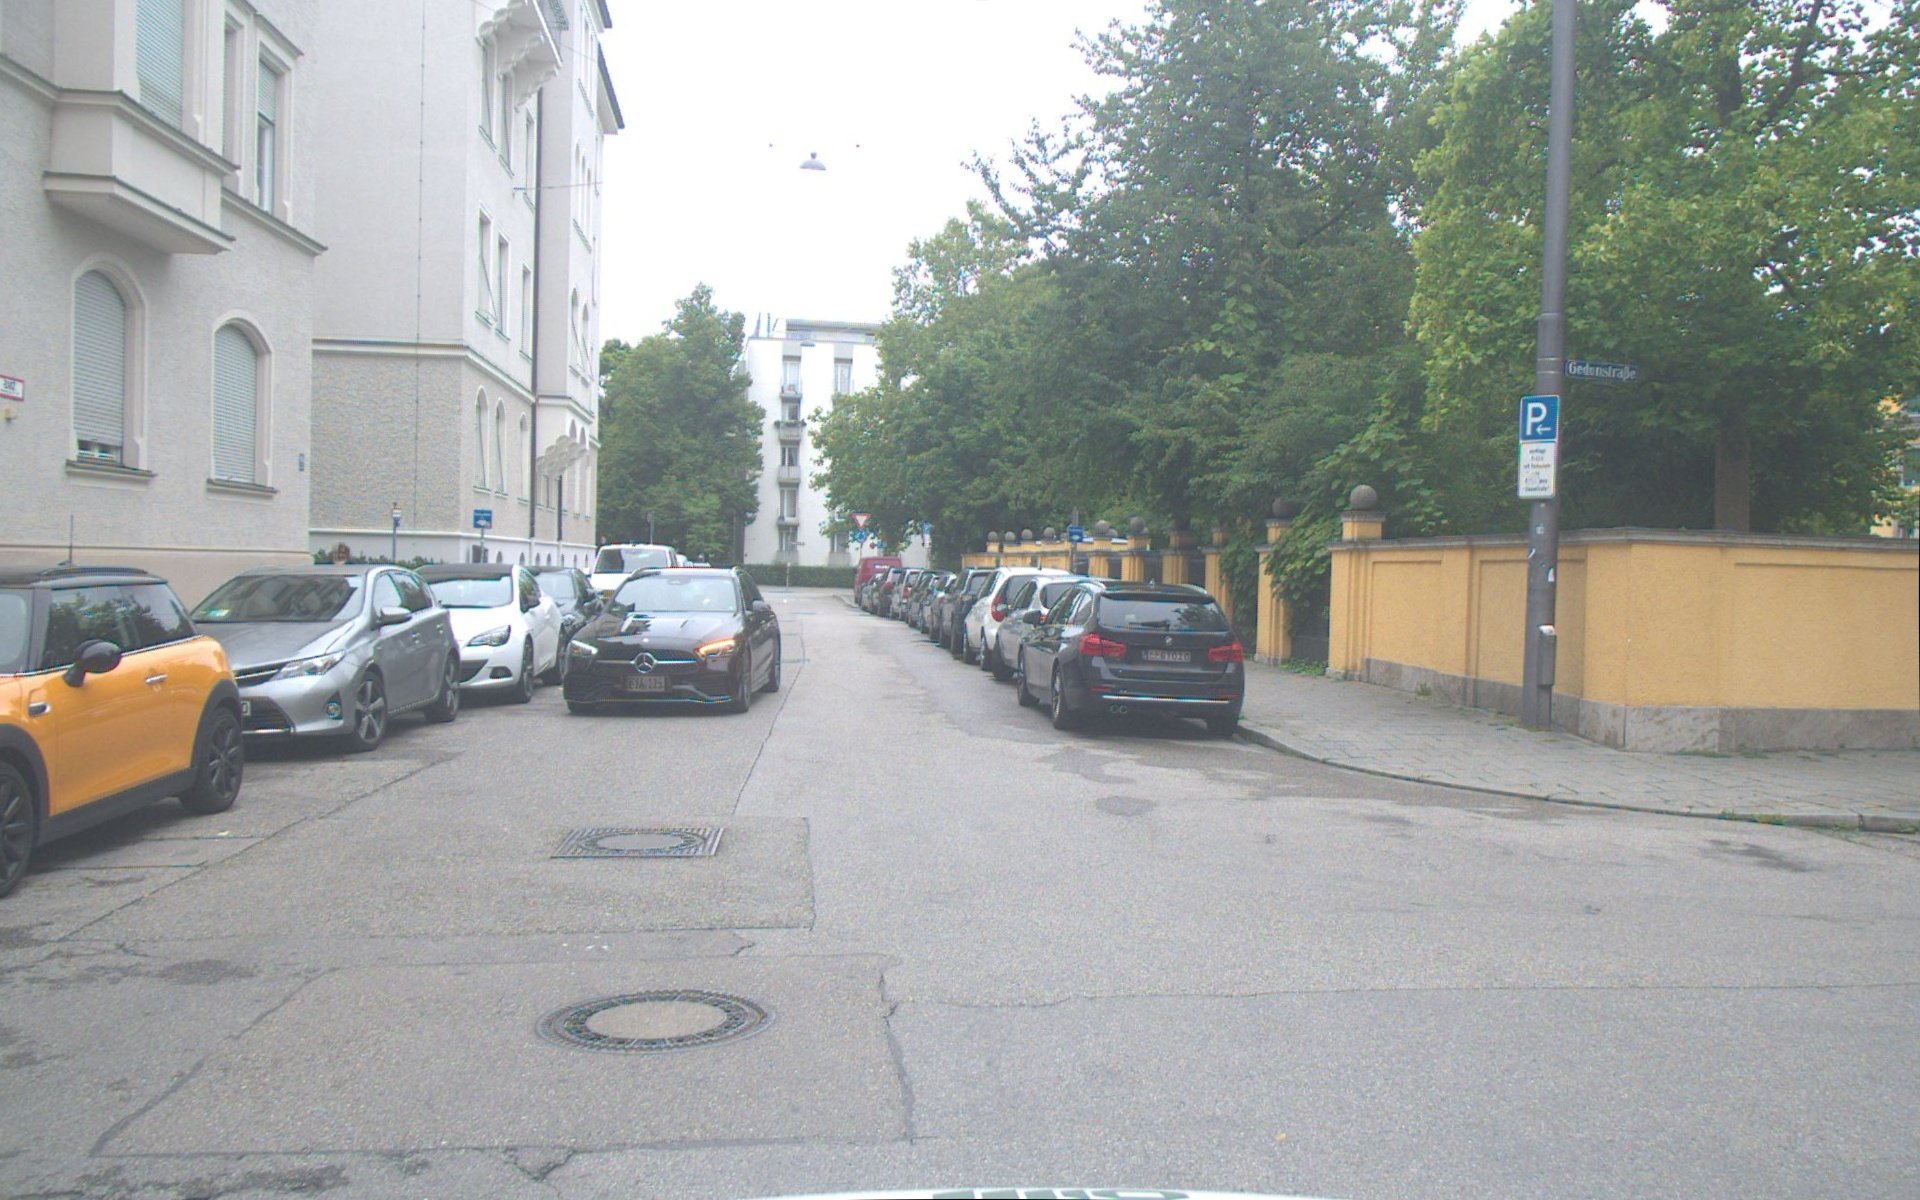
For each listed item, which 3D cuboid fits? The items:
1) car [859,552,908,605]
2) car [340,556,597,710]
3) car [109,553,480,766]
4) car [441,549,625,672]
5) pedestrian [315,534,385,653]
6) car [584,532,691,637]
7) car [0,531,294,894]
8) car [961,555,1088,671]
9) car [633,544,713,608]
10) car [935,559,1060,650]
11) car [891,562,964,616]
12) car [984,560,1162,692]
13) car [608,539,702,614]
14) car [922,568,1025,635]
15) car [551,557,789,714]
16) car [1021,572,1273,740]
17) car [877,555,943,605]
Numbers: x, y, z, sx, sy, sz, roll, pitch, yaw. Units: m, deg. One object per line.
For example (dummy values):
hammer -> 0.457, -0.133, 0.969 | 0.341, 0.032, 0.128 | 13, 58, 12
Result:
car -> -3.071, -0.895, 67.241 | 1.799, 1.960, 4.004 | 4, 2, -2
car -> -5.411, 0.274, 18.783 | 1.800, 1.463, 4.273 | -2, 2, -3
car -> -5.357, 0.385, 13.883 | 1.691, 1.526, 3.928 | 0, 1, -3
car -> -5.964, 0.069, 23.566 | 1.800, 1.525, 4.271 | -2, 2, -5
pedestrian -> -8.878, -0.099, 24.078 | 0.776, 1.708, 0.699 | 1, 1, -5
car -> -7.179, -0.414, 37.188 | 1.850, 2.164, 4.702 | -2, 2, -5
car -> -4.916, 0.448, 8.331 | 1.607, 1.525, 3.970 | -2, 2, -2
car -> 0.979, 0.158, 26.796 | 1.484, 1.690, 3.670 | 2, 1, -6
car -> -8.458, -0.752, 49.046 | 1.976, 1.756, 4.270 | -2, 2, -6
car -> 0.652, 0.048, 31.971 | 1.804, 1.578, 3.942 | 2, 1, -7
car -> -1.033, -0.363, 51.223 | 1.804, 1.545, 3.942 | 2, 1, -7
car -> 1.415, 0.287, 22.090 | 1.621, 1.545, 3.789 | 2, 1, -7
car -> -7.910, -0.650, 43.271 | 1.976, 1.802, 4.409 | -2, 2, -5
car -> 0.249, 0.000, 37.523 | 1.804, 1.369, 3.942 | 2, 1, -7
car -> -2.964, 0.279, 17.845 | 1.836, 1.453, 4.409 | 0, 2, -1
car -> 1.771, 0.474, 17.077 | 1.802, 1.437, 4.340 | 2, 1, -4
car -> -1.707, -0.691, 55.357 | 1.804, 1.545, 3.942 | 2, 1, -7
